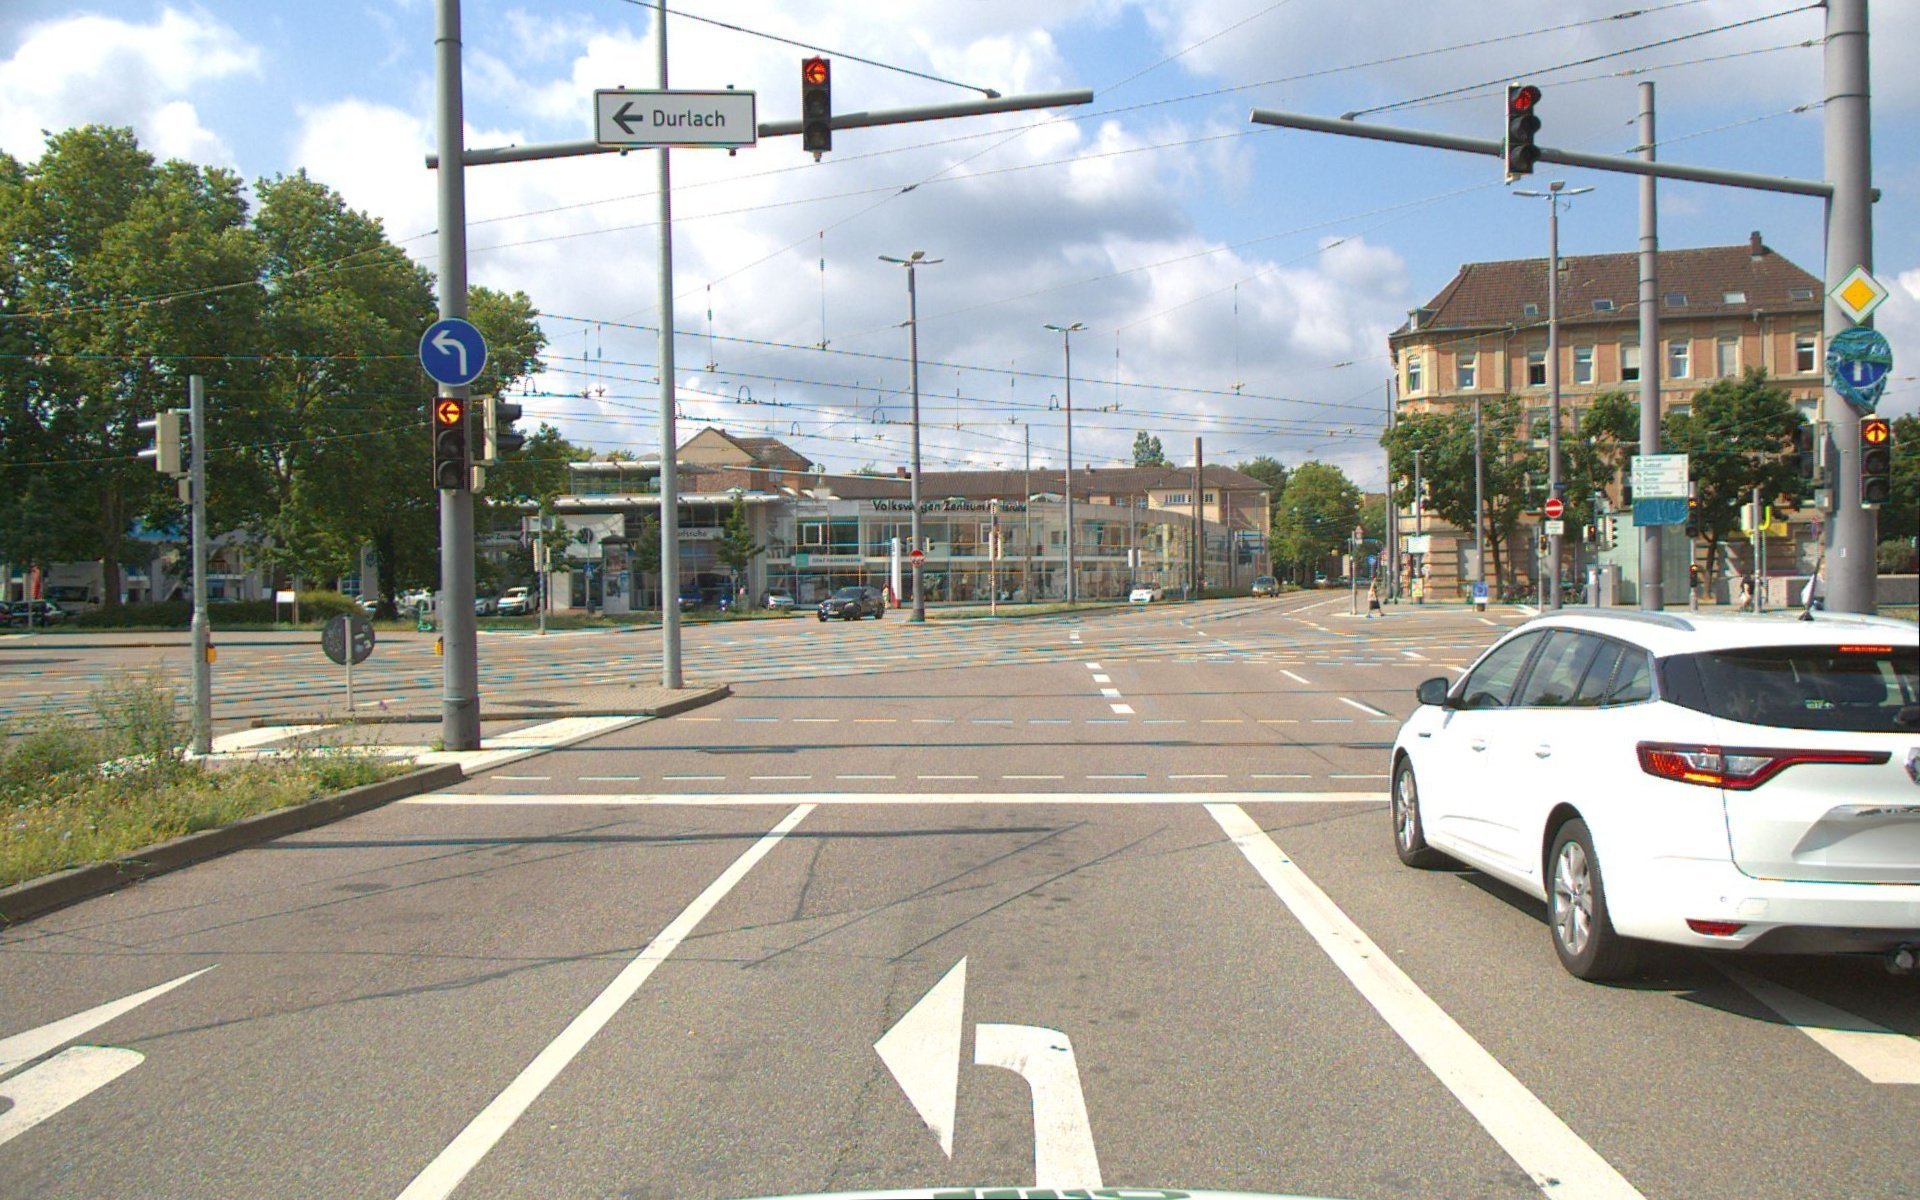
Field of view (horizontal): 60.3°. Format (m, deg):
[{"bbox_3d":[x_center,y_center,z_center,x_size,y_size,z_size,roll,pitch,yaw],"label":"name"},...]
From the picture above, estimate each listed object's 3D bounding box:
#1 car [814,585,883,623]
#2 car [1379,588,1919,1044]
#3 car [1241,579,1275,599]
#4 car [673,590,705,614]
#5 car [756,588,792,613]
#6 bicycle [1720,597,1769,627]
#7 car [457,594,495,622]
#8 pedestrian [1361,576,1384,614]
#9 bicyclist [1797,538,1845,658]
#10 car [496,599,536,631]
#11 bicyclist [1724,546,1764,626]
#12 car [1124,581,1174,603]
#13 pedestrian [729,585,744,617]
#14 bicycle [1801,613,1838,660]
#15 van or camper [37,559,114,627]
[{"bbox_3d":[-4.844,0.158,72.433,1.951,1.557,4.004,-1,0,13],"label":"car"},{"bbox_3d":[3.351,0.697,7.627,1.810,1.498,4.336,0,0,1],"label":"car"},{"bbox_3d":[25.147,-0.952,139.272,1.953,1.601,3.999,-1,0,23],"label":"car"},{"bbox_3d":[-17.792,0.116,108.710,1.956,1.579,4.071,-1,0,-8],"label":"car"},{"bbox_3d":[-12.399,0.020,110.003,1.958,1.624,3.988,-1,0,-12],"label":"car"},{"bbox_3d":[20.348,0.305,42.919,0.517,0.756,1.766,-1,0,4],"label":"bicycle"},{"bbox_3d":[-32.080,0.532,109.766,1.763,1.800,3.994,-1,0,-7],"label":"car"},{"bbox_3d":[16.948,-0.214,67.988,0.669,1.562,0.664,-1,0,-40],"label":"pedestrian"},{"bbox_3d":[14.994,-0.037,28.799,0.685,2.049,0.787,-1,0,30],"label":"bicyclist"},{"bbox_3d":[-29.386,0.981,109.460,1.955,2.049,3.994,-1,0,-7],"label":"car"},{"bbox_3d":[20.368,-0.358,42.960,0.684,2.049,0.789,-1,0,4],"label":"bicyclist"},{"bbox_3d":[13.359,-0.559,116.967,1.958,1.467,3.989,-1,0,33],"label":"car"},{"bbox_3d":[-14.432,0.065,106.559,0.866,1.982,0.885,-1,0,-13],"label":"pedestrian"},{"bbox_3d":[14.952,0.616,28.762,0.518,0.756,1.762,-1,0,29],"label":"bicycle"},{"bbox_3d":[-40.697,-0.320,76.265,2.547,2.959,6.056,-1,0,-23],"label":"van or camper"}]
